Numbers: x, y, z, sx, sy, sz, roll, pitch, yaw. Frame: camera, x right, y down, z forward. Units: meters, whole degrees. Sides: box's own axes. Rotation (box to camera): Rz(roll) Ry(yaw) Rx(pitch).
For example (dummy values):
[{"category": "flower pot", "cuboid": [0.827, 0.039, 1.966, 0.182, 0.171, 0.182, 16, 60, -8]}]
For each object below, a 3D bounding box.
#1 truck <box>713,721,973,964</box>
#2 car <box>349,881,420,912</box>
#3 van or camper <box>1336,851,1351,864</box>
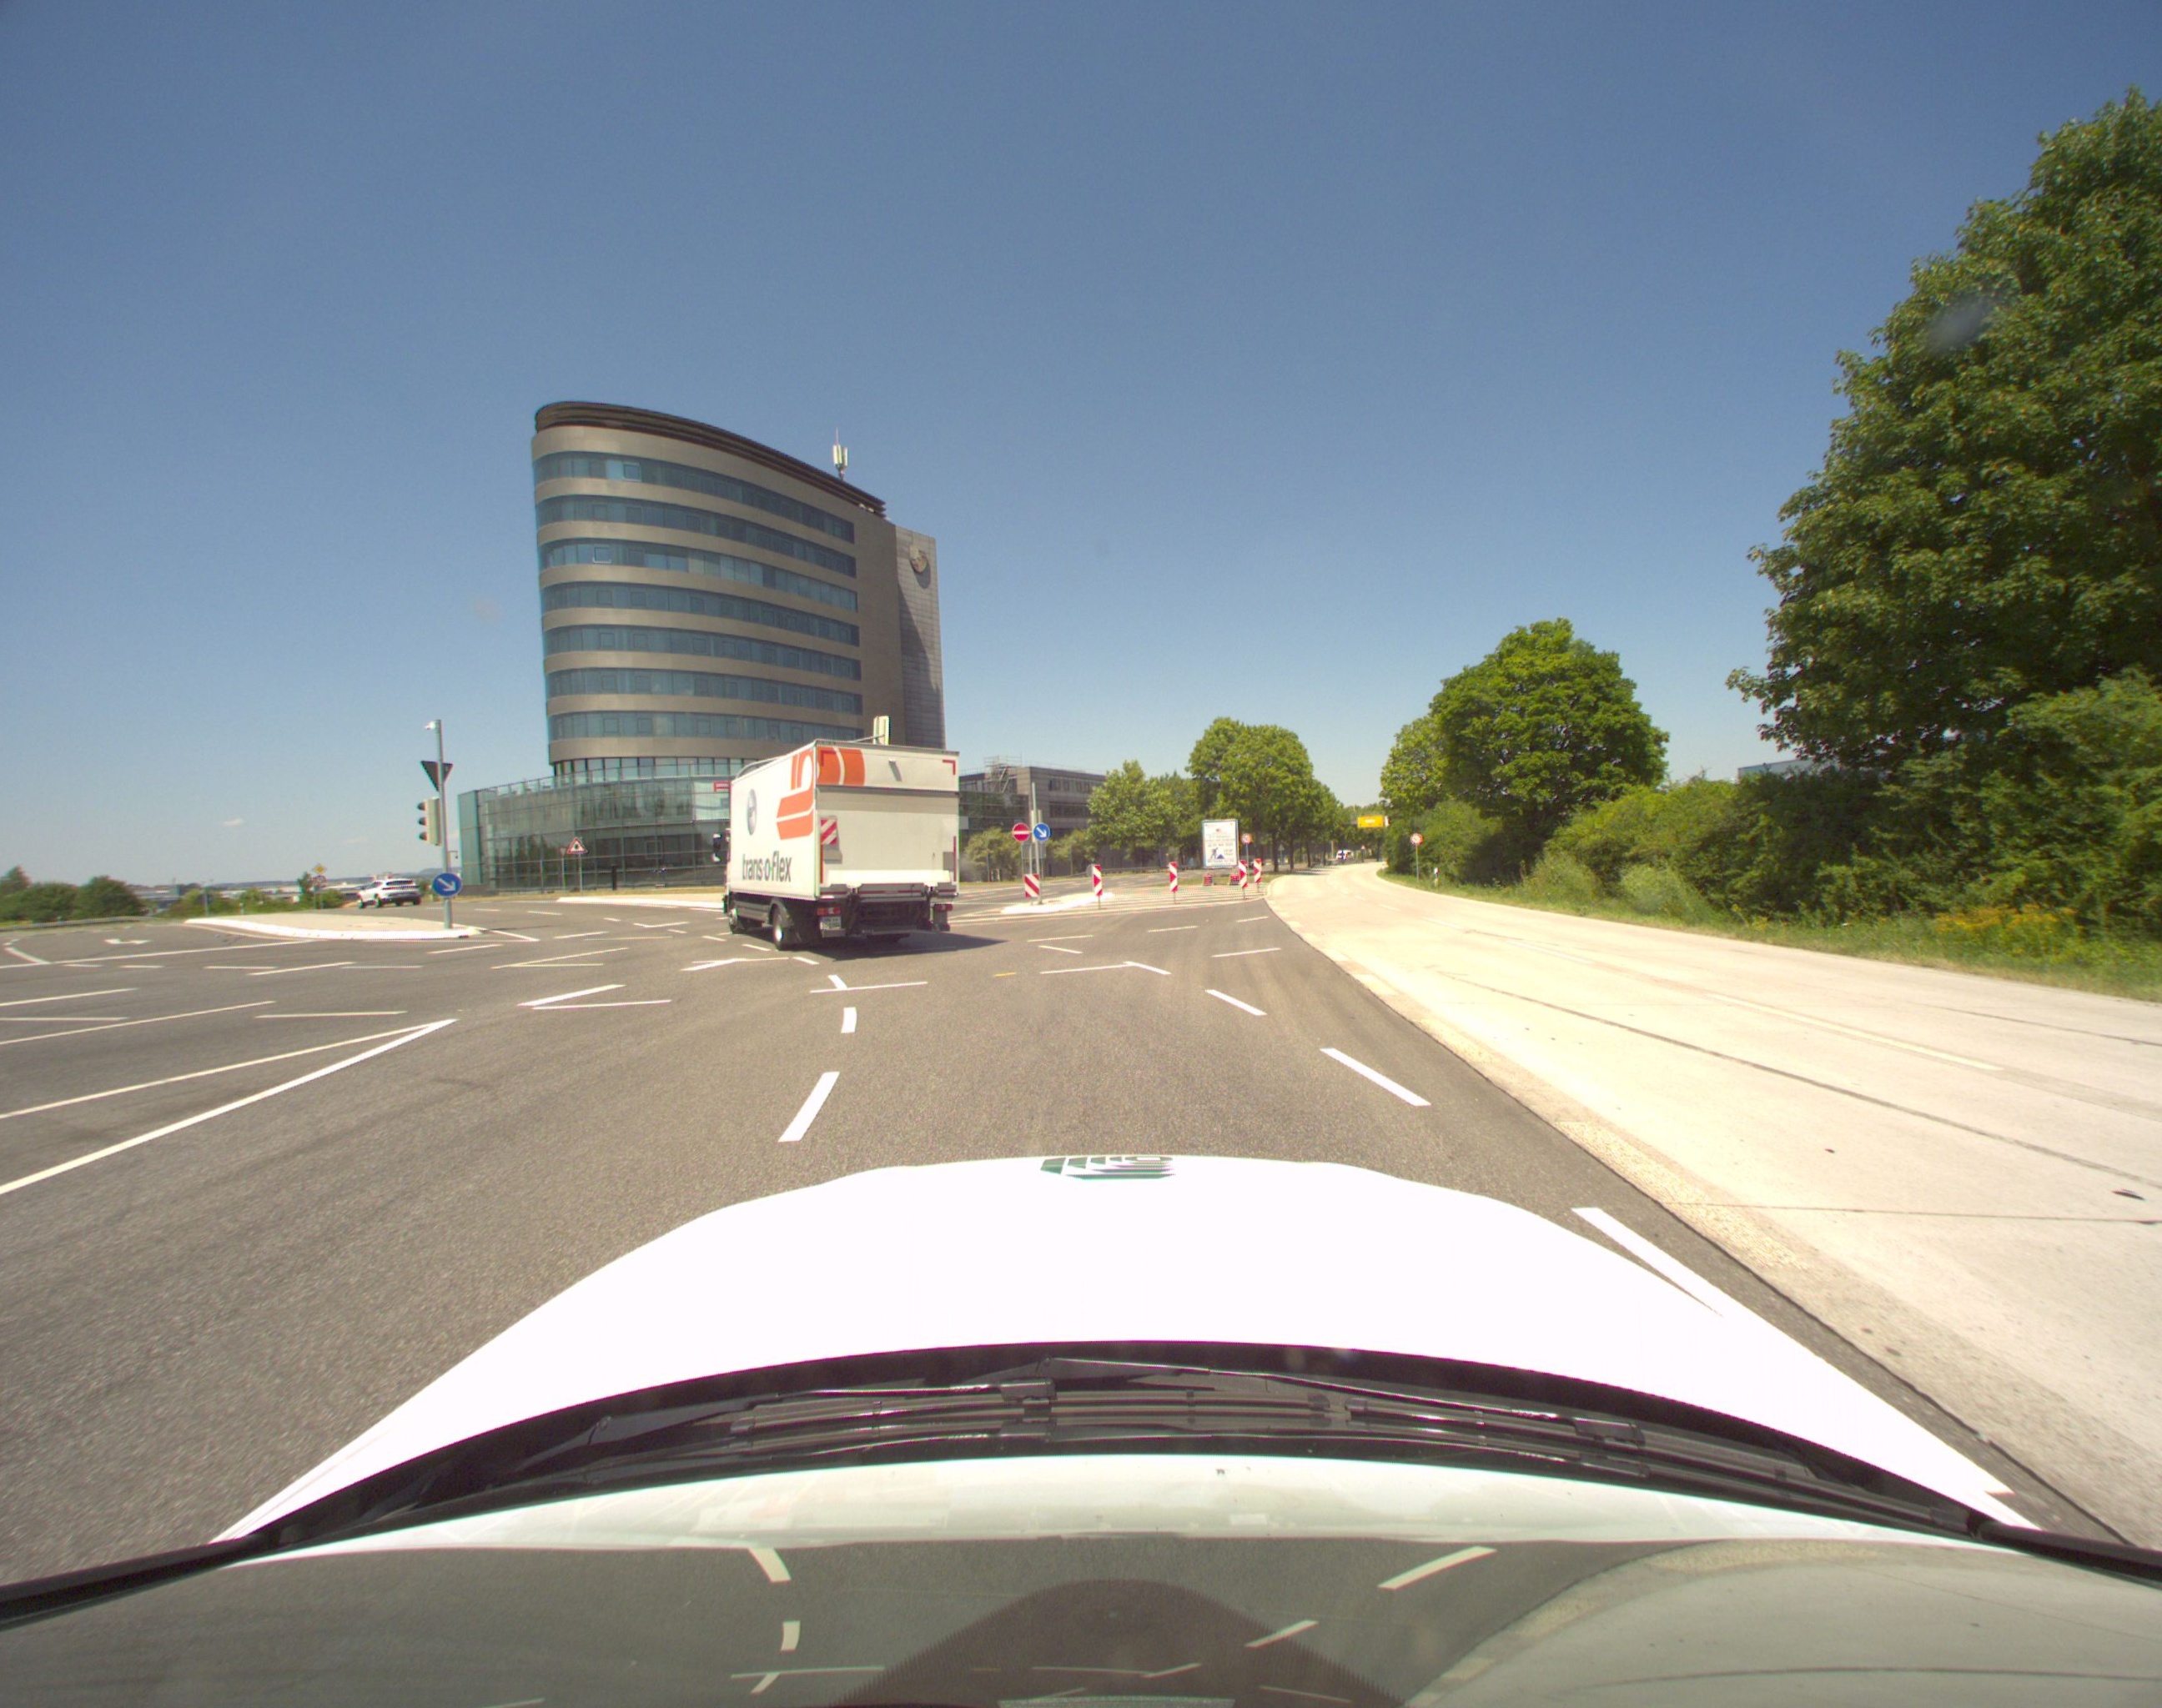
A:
[{"category": "truck", "cuboid": [-5.655, -0.032, 17.593, 2.789, 3.860, 9.272, -1, -2, -33]}, {"category": "car", "cuboid": [-37.637, 2.277, 44.001, 3.948, 1.557, 1.819, -2, -1, 32]}, {"category": "van or camper", "cuboid": [55.238, 0.711, 171.485, 1.974, 2.682, 4.025, -2, -1, 33]}]
